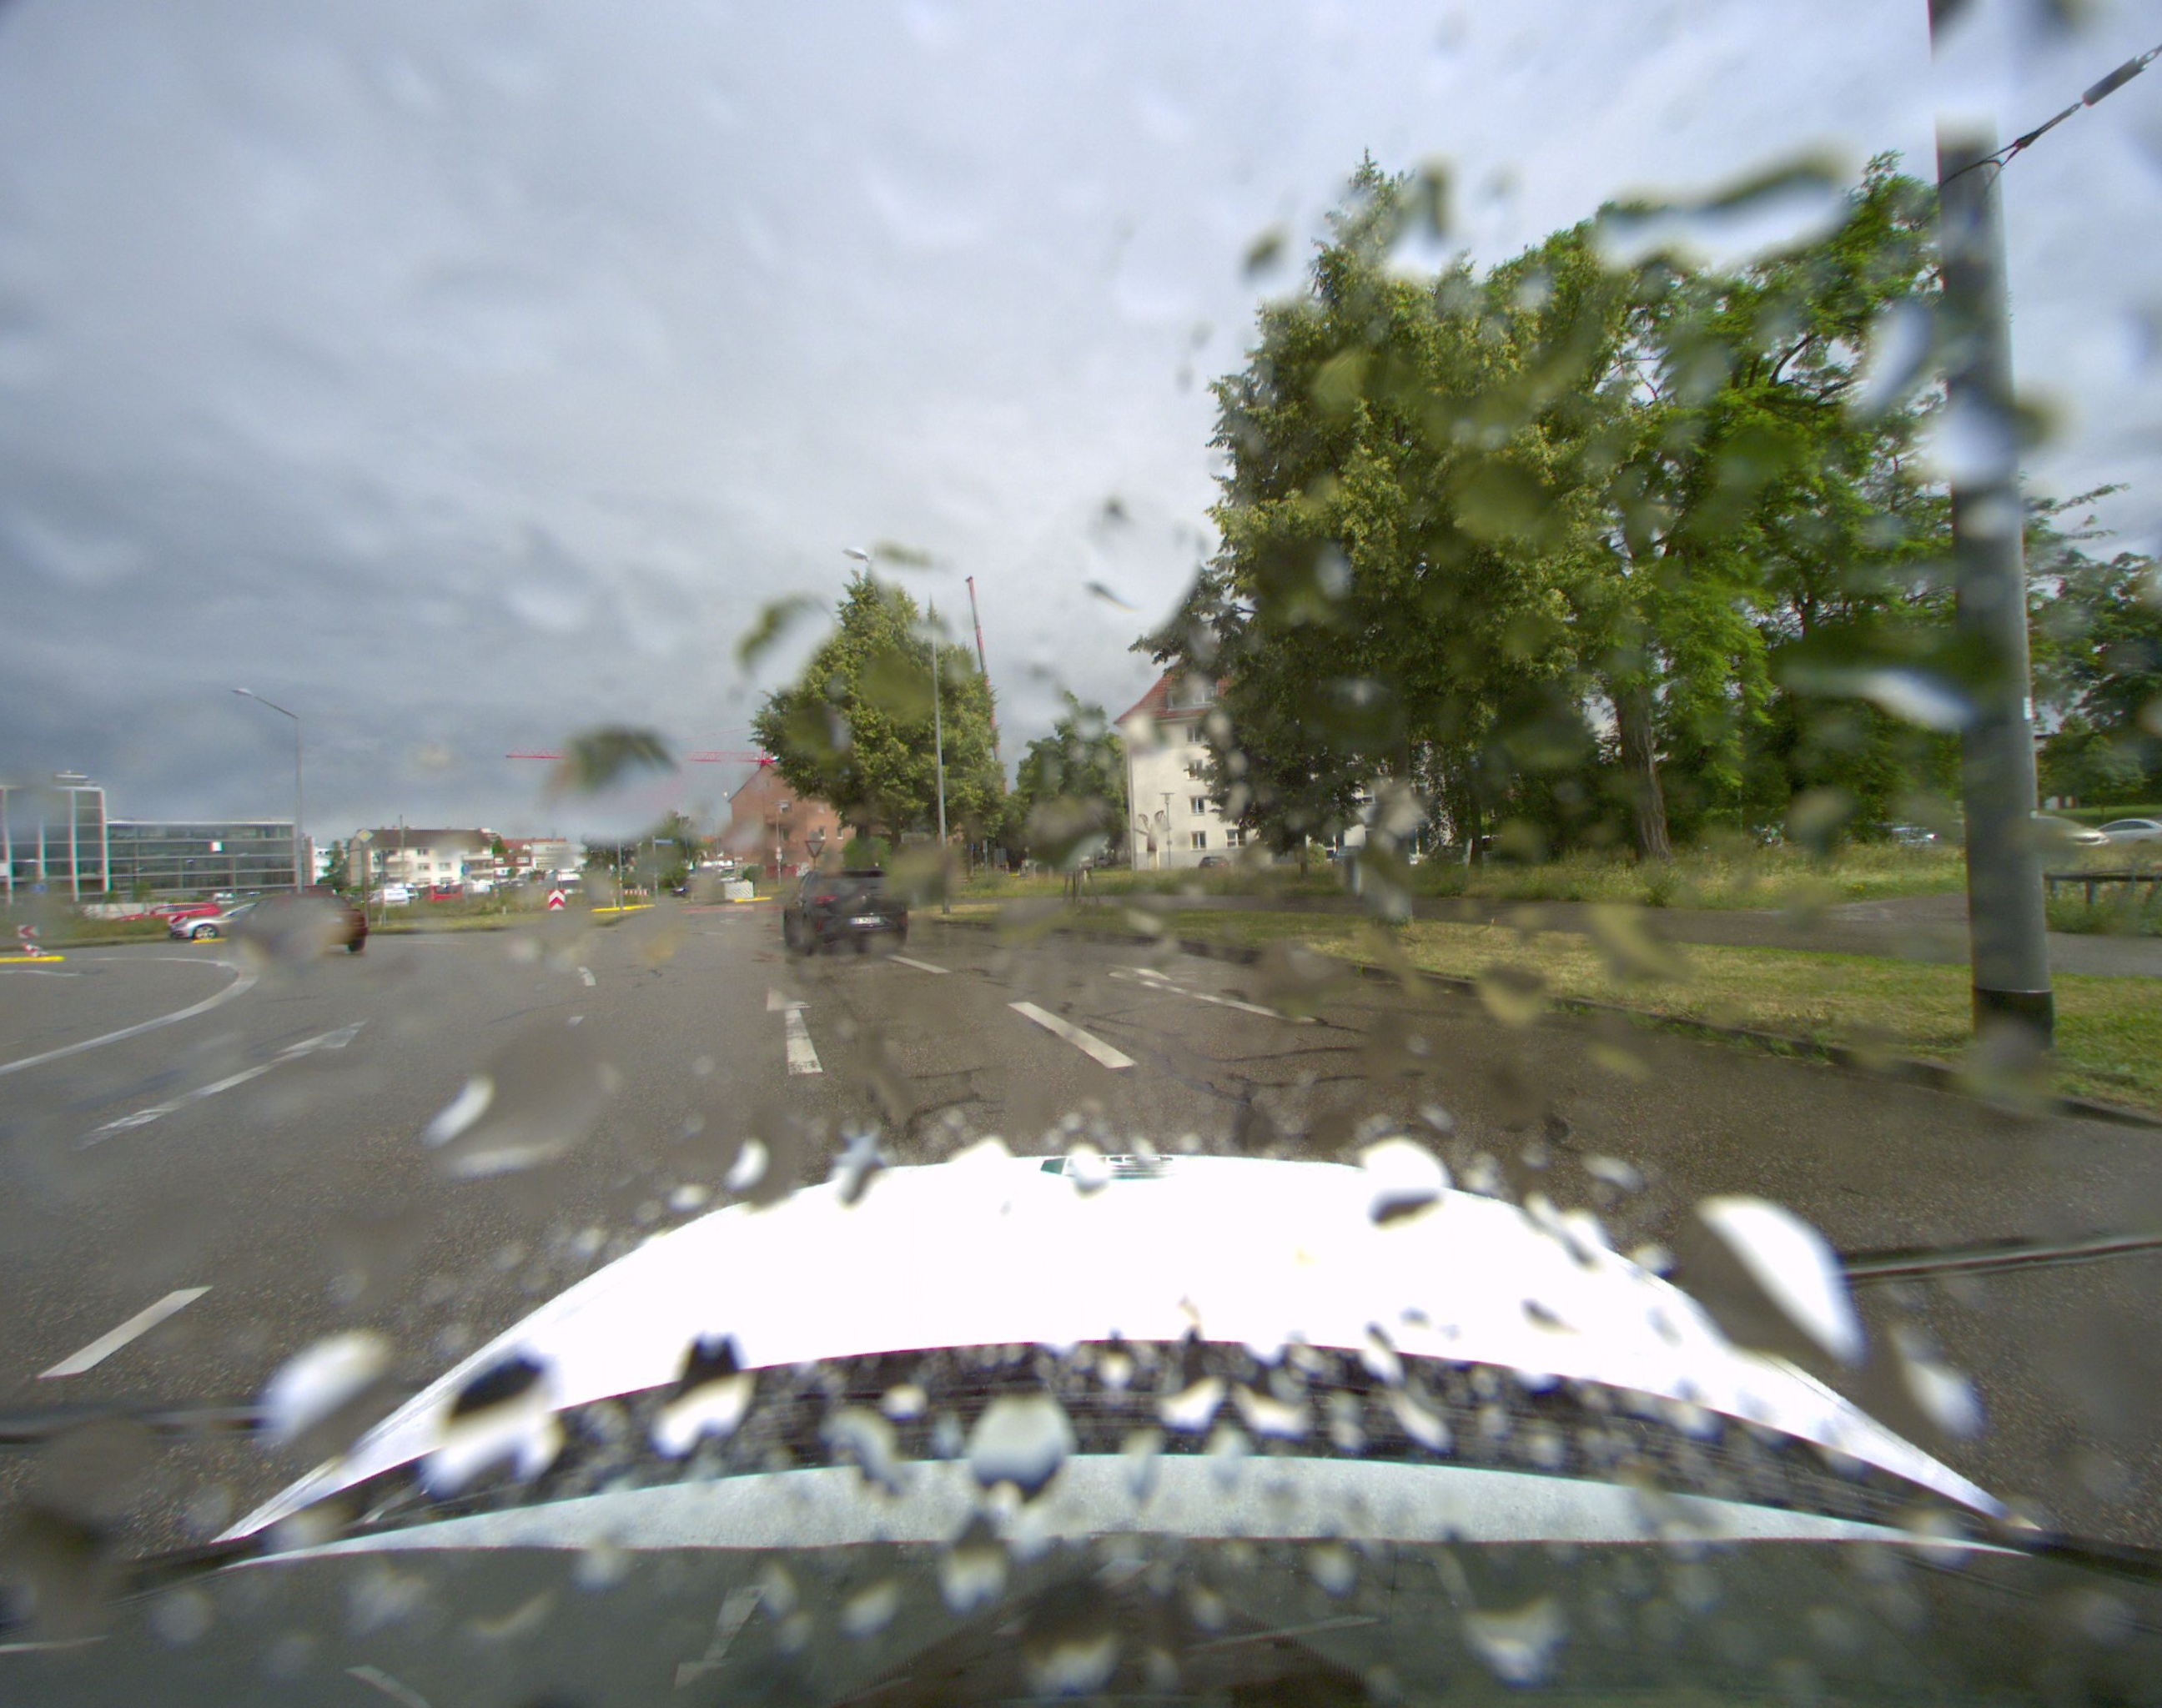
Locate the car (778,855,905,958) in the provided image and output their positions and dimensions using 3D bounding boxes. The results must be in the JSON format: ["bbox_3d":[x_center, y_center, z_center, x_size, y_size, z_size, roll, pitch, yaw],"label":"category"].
[{"bbox_3d":[-4.788,0.921,15.880,1.905,1.617,3.970,-3,0,-22],"label":"car"}]

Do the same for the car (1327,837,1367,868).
[{"bbox_3d":[15.307,-0.121,47.020,1.832,1.552,4.123,-3,2,15],"label":"car"}]

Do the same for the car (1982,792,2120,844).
[{"bbox_3d":[35.159,-1.254,29.645,1.532,1.659,3.668,-3,0,20],"label":"car"}]

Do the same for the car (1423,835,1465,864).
[{"bbox_3d":[20.218,-0.281,45.476,1.645,1.345,3.598,-3,2,17],"label":"car"}]

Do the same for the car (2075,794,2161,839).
[{"bbox_3d":[37.210,-1.311,28.321,1.626,1.462,3.628,-3,0,19],"label":"car"}]

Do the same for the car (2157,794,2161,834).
[{"bbox_3d":[39.690,-1.467,27.895,1.626,1.462,3.628,-3,0,19],"label":"car"}]

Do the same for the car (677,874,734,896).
[{"bbox_3d":[-32.388,2.689,70.280,4.081,1.632,1.597,-3,0,-42],"label":"car"}]

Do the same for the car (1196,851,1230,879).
[{"bbox_3d":[8.021,0.651,49.283,1.659,1.482,3.753,-3,0,13],"label":"car"}]

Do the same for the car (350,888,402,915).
[{"bbox_3d":[-50.431,3.354,58.212,3.948,1.700,1.870,-1,1,35],"label":"car"}]

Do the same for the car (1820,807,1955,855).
[{"bbox_3d":[29.816,-0.799,30.291,1.830,1.559,3.996,-3,-1,16],"label":"car"}]

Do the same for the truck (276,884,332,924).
[{"bbox_3d":[-51.025,3.203,53.421,6.025,2.211,2.412,0,1,44],"label":"truck"}]

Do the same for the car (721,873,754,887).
[{"bbox_3d":[-41.725,3.143,99.110,3.521,1.519,1.606,-3,0,-20],"label":"car"}]

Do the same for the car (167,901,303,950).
[{"bbox_3d":[-34.006,2.824,32.800,1.579,1.560,3.573,-3,1,36],"label":"car"}]

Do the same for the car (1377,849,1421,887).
[{"bbox_3d":[13.853,0.597,35.630,1.590,1.510,3.638,-3,-1,19],"label":"car"}]

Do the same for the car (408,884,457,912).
[{"bbox_3d":[-46.575,3.132,58.496,3.949,1.700,1.942,0,1,40],"label":"car"}]

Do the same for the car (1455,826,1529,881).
[{"bbox_3d":[17.434,-0.096,34.798,2.089,2.057,5.188,-4,0,20],"label":"car"}]

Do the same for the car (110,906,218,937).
[{"bbox_3d":[-56.215,4.106,49.982,1.833,1.510,4.219,-2,0,36],"label":"car"}]

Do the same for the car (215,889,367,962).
[{"bbox_3d":[-19.003,1.704,19.551,3.948,1.462,1.731,-4,0,33],"label":"car"}]
